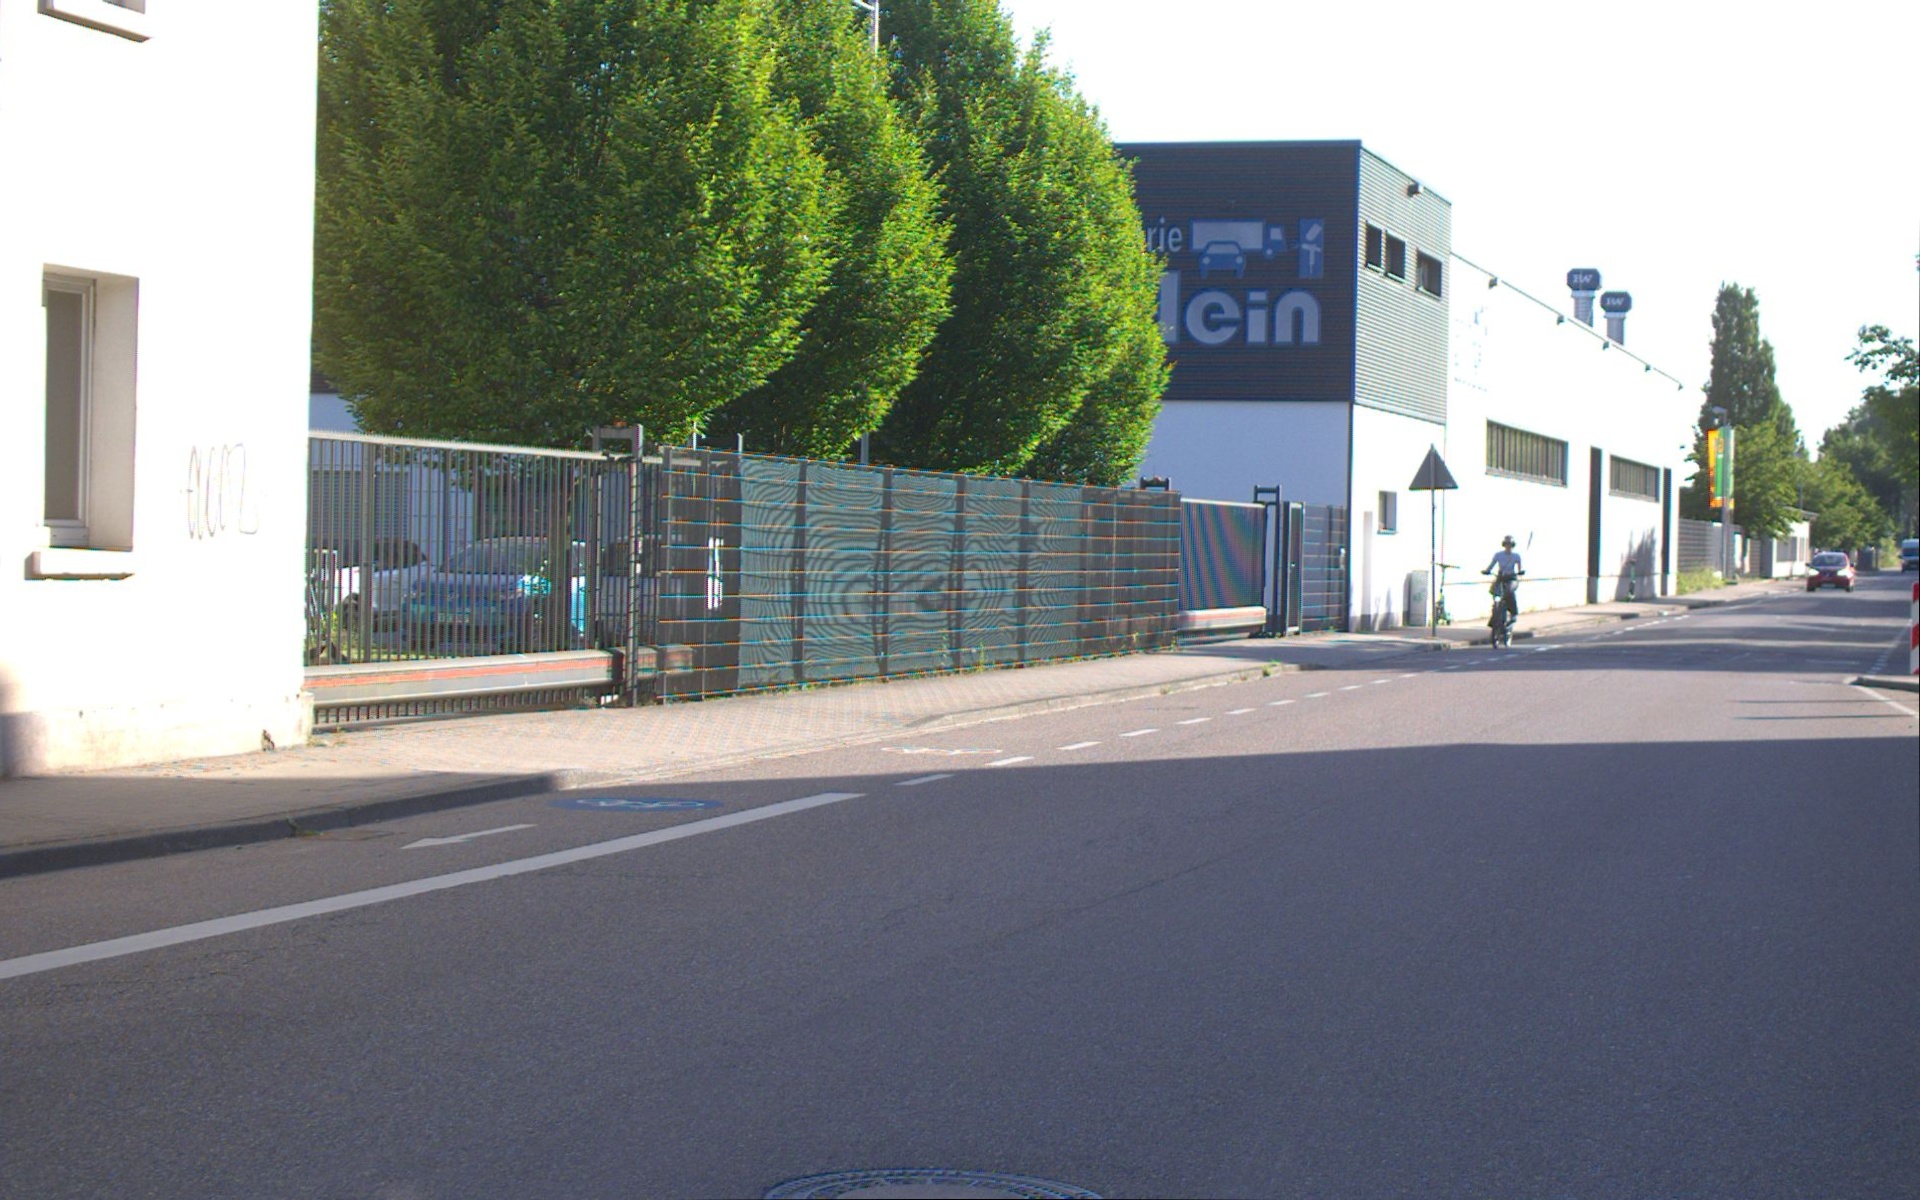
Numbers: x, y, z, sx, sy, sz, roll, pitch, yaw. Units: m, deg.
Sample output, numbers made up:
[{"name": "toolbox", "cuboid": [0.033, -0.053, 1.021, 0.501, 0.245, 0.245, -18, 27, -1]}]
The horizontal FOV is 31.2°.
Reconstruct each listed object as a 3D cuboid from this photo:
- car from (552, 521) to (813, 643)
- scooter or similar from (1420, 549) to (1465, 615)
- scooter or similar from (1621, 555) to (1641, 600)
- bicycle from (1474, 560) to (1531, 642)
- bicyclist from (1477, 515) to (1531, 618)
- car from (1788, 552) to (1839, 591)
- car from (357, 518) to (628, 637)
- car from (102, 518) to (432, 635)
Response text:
[{"name": "car", "cuboid": [-3.535, -0.247, 44.525, 1.995, 1.446, 3.997, 2, 1, 17]}, {"name": "scooter or similar", "cuboid": [9.186, -0.352, 65.421, 0.507, 1.199, 1.752, 5, 2, 17]}, {"name": "scooter or similar", "cuboid": [19.208, -0.660, 98.392, 0.416, 1.263, 1.059, 2, 1, 16]}, {"name": "bicycle", "cuboid": [8.744, 0.005, 55.373, 0.668, 1.284, 2.171, 1, 1, 15]}, {"name": "bicyclist", "cuboid": [8.765, -0.543, 55.362, 0.747, 1.622, 0.833, 1, 1, 15]}, {"name": "car", "cuboid": [33.895, -1.143, 136.478, 1.819, 1.484, 3.997, -2, 0, 15]}, {"name": "car", "cuboid": [-6.082, -0.306, 45.189, 1.995, 1.446, 3.997, 2, 1, 17]}, {"name": "car", "cuboid": [-9.414, -0.343, 46.772, 3.990, 1.535, 1.874, 1, 1, 17]}]
